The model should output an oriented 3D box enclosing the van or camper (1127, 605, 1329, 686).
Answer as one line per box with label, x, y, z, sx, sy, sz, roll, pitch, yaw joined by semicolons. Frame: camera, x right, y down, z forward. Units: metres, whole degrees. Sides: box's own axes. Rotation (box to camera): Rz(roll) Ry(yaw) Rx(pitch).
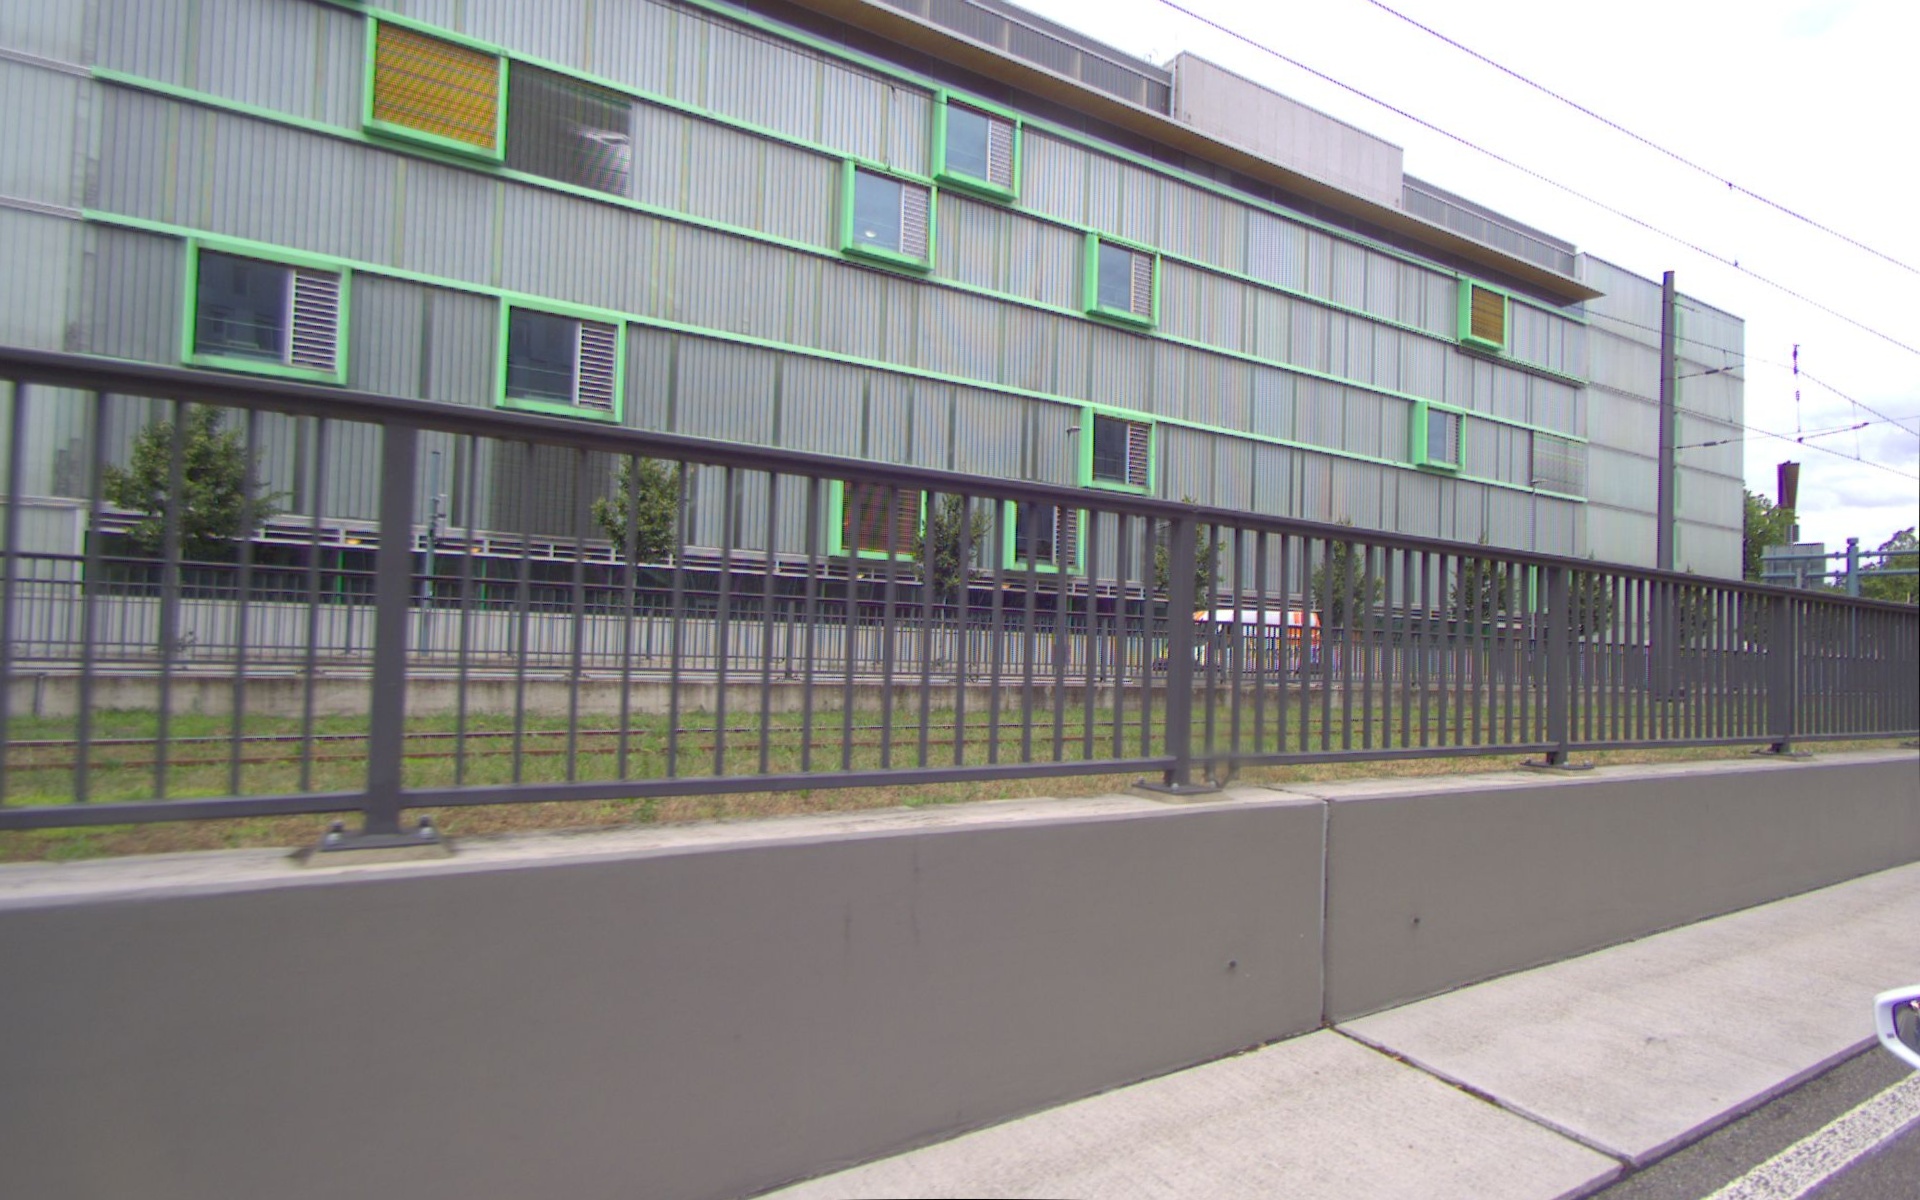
van or camper;8.448;1.447;31.393;6.430;2.316;2.162;3;-1;-30
